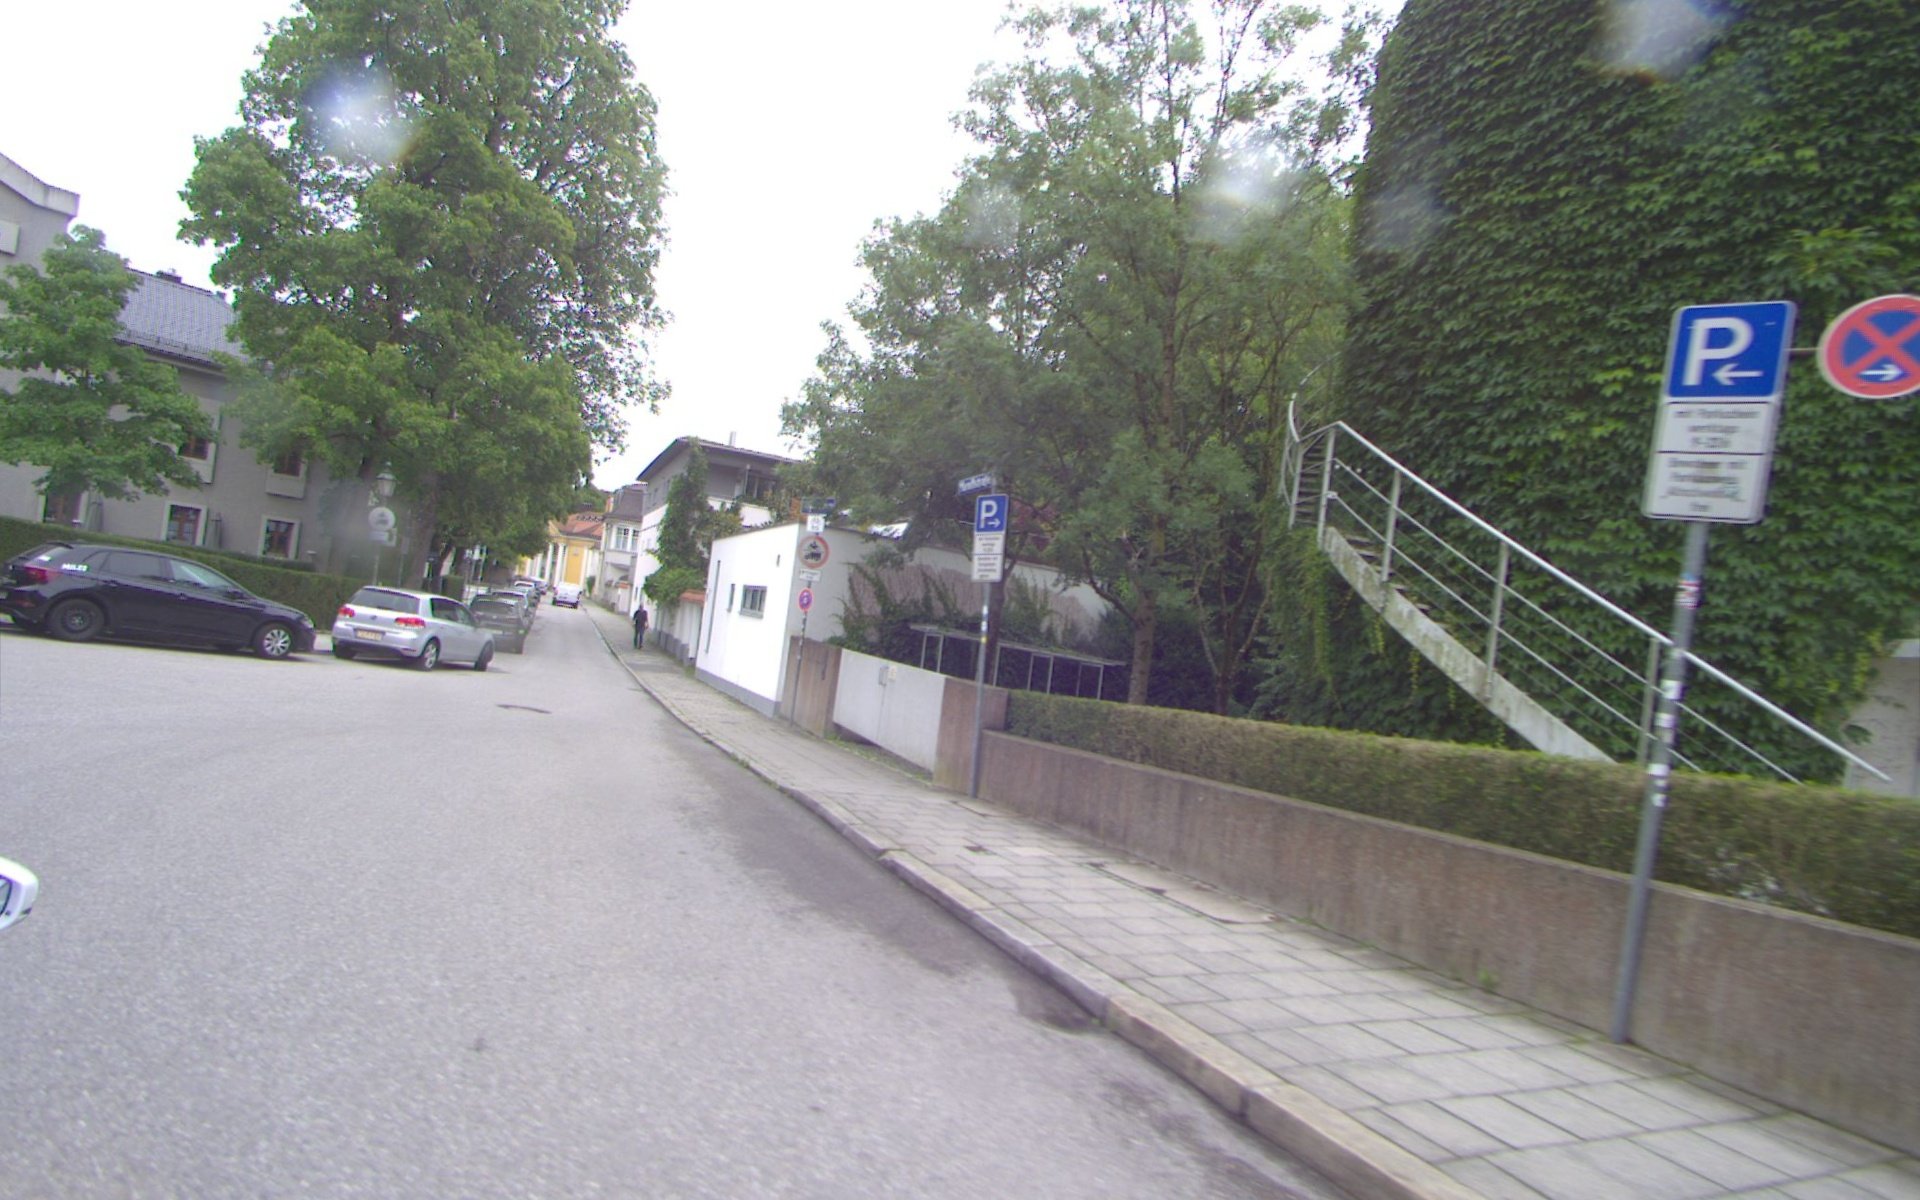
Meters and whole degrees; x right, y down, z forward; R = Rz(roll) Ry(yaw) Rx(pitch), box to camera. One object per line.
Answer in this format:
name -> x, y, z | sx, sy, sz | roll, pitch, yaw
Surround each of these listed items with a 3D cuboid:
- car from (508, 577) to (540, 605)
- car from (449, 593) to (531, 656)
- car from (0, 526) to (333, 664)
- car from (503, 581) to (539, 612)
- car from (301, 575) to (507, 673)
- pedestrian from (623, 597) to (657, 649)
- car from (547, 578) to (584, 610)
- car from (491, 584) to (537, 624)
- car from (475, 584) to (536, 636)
car -> -32.284, -0.693, 74.631 | 1.917, 1.681, 3.994 | 10, -2, -23
car -> -14.158, 0.703, 30.522 | 1.917, 1.462, 3.994 | 10, -3, -23
car -> -12.477, -0.014, 15.710 | 1.867, 1.461, 4.014 | 5, -6, 32
car -> -28.744, -0.278, 65.962 | 1.917, 1.681, 3.994 | 10, -2, -23
car -> -11.033, 0.562, 20.348 | 1.907, 1.461, 4.019 | 10, -4, -3
pedestrian -> -12.984, 0.929, 40.765 | 0.940, 1.953, 1.225 | 9, -2, -24
car -> -29.520, -0.464, 75.199 | 1.977, 2.036, 4.153 | 9, -3, -26
car -> -23.075, 0.184, 52.153 | 1.917, 1.681, 3.994 | 10, -2, -23
car -> -18.184, 0.372, 40.392 | 1.917, 1.681, 3.994 | 10, -2, -23
